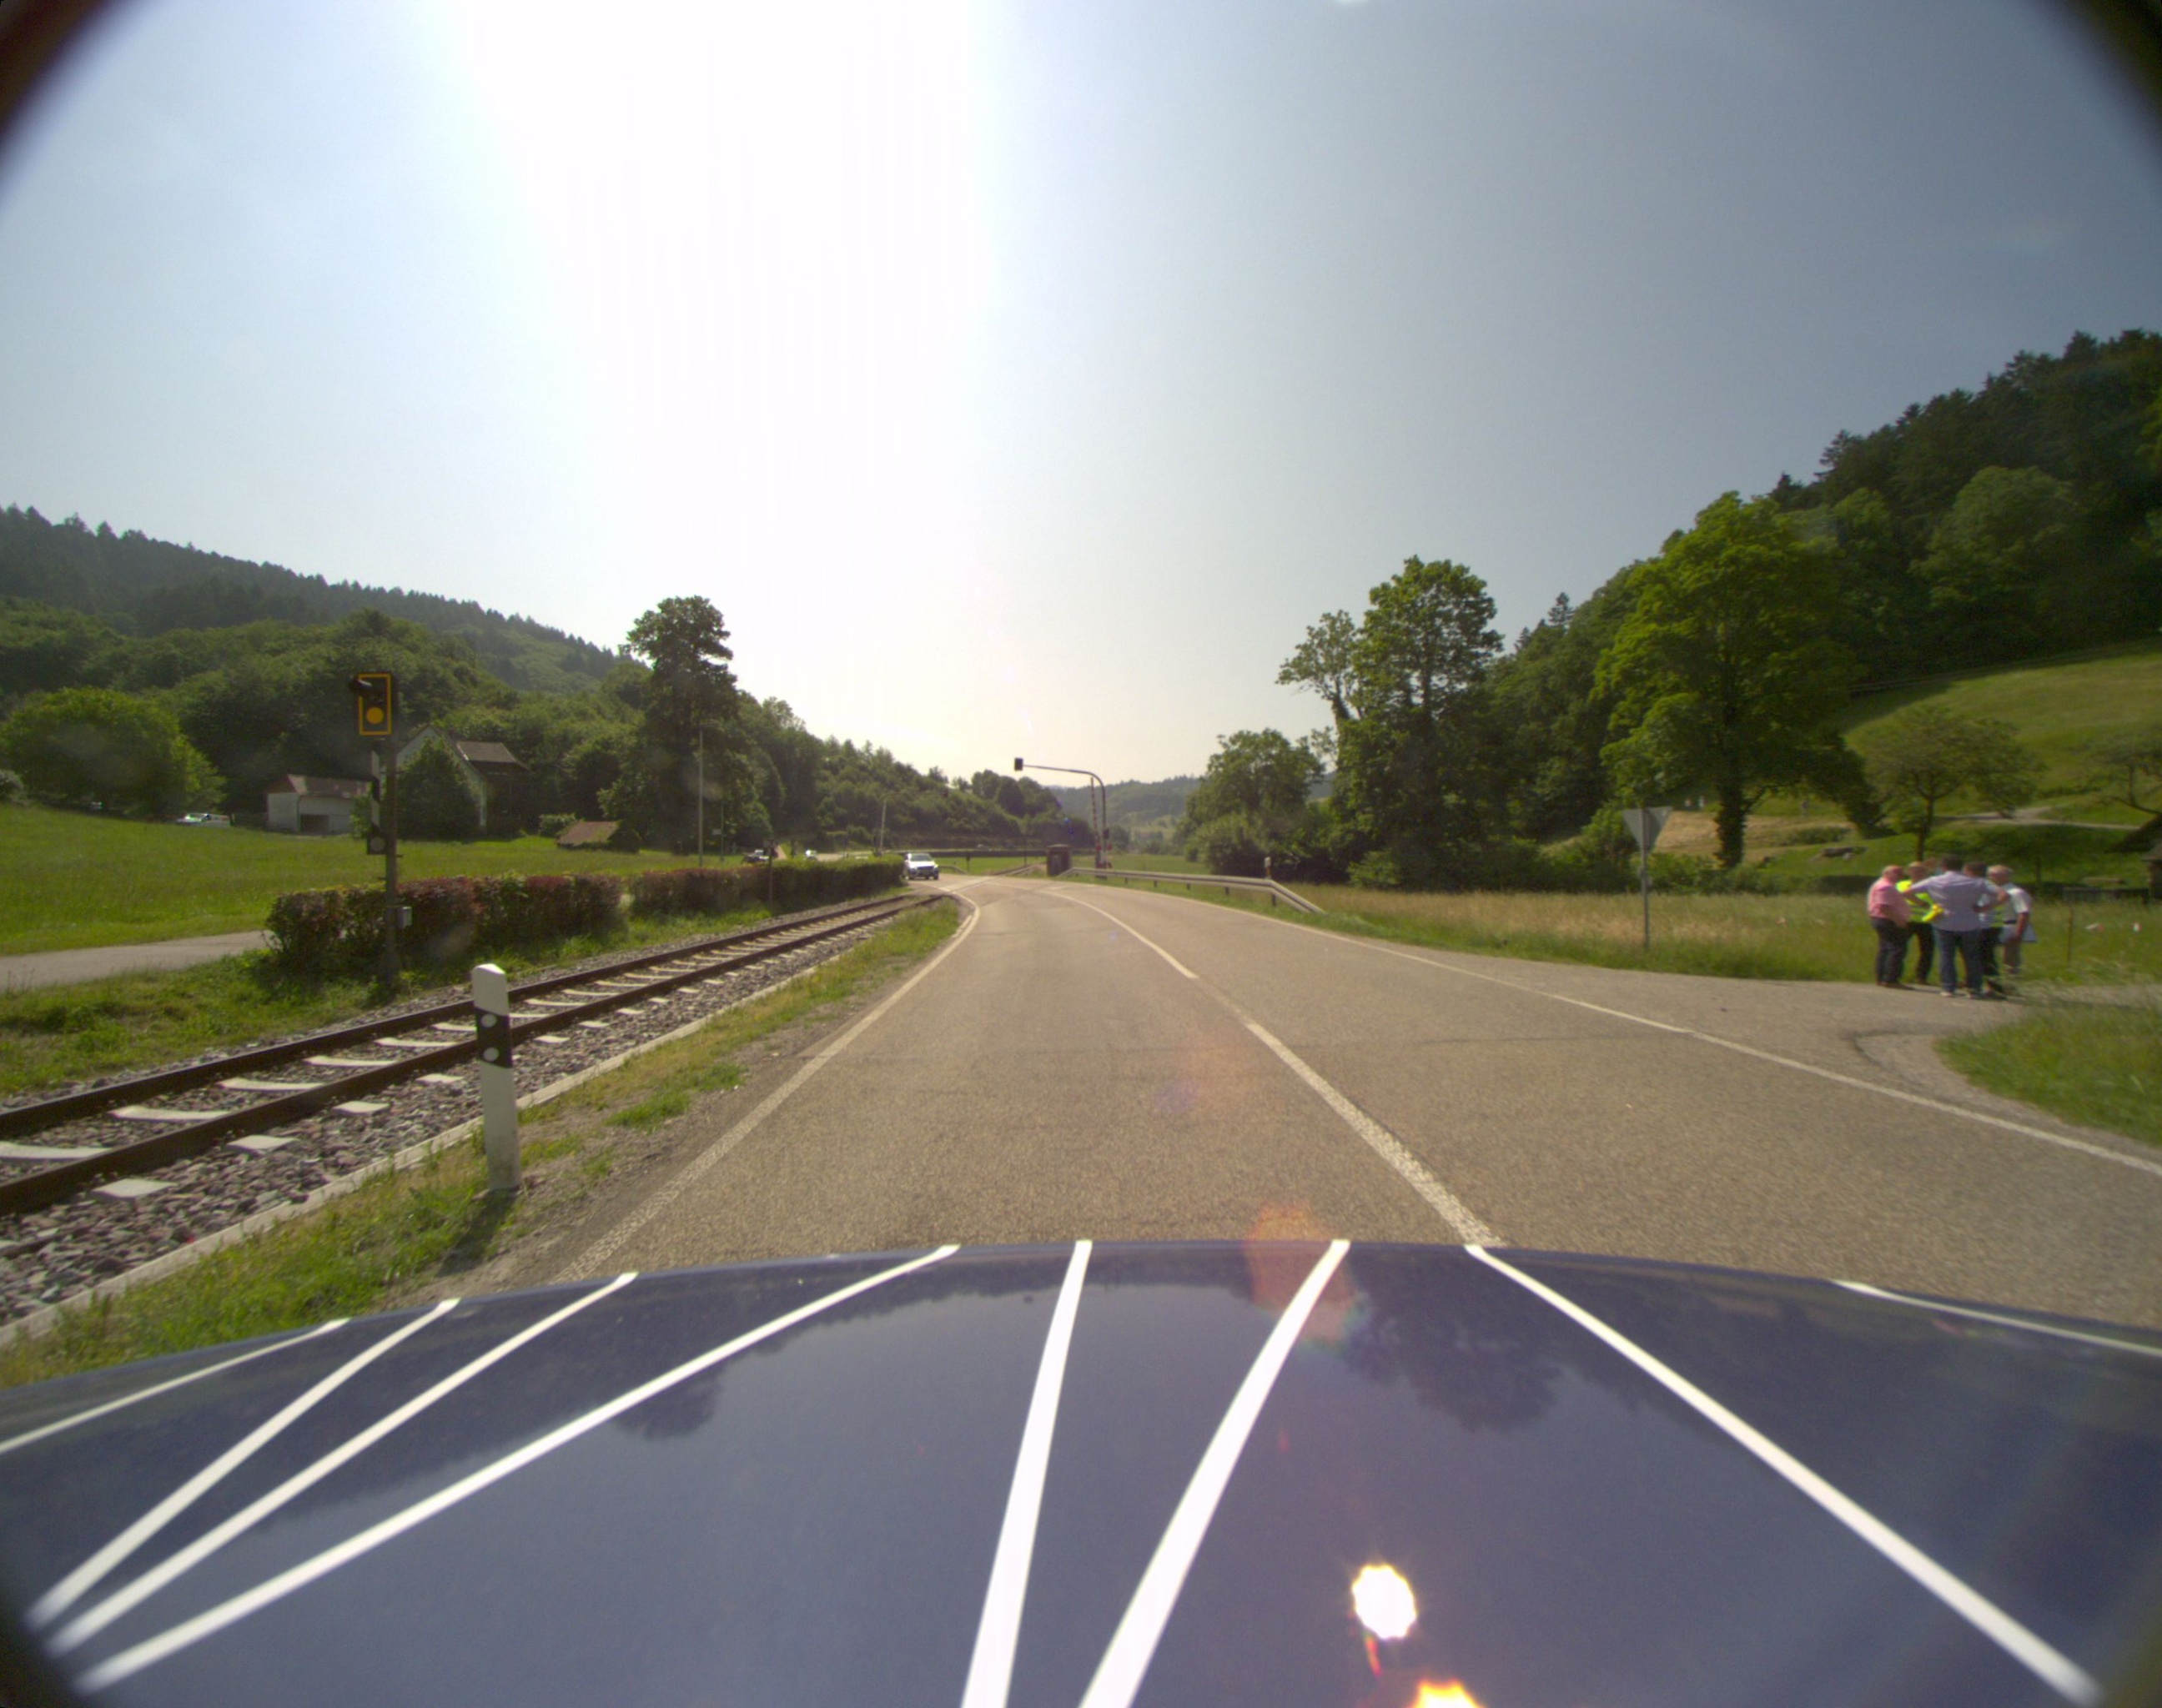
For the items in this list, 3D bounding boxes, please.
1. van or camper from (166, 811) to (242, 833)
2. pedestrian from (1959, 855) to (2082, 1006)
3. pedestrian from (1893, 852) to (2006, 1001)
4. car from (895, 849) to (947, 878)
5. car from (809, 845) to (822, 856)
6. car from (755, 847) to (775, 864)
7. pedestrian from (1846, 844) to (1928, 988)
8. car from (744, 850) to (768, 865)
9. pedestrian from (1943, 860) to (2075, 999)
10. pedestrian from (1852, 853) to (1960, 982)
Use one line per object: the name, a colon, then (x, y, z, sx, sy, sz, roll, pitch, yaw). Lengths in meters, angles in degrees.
van or camper: (-87.770, -3.189, 76.159, 2.821, 1.938, 5.425, 2, 0, -22)
pedestrian: (11.989, 0.935, 9.728, 0.647, 1.829, 0.772, 2, 1, 22)
pedestrian: (11.352, 0.909, 9.959, 0.647, 1.848, 0.772, 2, 1, 23)
car: (-10.816, 0.628, 51.163, 2.123, 1.803, 4.444, 1, 0, -30)
car: (-47.272, -0.610, 135.413, 2.001, 1.774, 3.994, 1, 1, -15)
car: (-39.494, 0.193, 94.954, 2.008, 1.837, 4.859, 6, -1, -21)
pedestrian: (11.317, 0.850, 10.673, 0.663, 1.943, 0.532, 2, 0, -21)
car: (-37.049, 0.366, 86.520, 1.682, 1.448, 3.704, 3, 1, -35)
pedestrian: (12.569, 0.984, 10.322, 0.769, 1.785, 0.795, 2, 1, 16)
pedestrian: (12.255, 0.918, 11.311, 0.790, 1.831, 0.698, 2, 0, 0)
